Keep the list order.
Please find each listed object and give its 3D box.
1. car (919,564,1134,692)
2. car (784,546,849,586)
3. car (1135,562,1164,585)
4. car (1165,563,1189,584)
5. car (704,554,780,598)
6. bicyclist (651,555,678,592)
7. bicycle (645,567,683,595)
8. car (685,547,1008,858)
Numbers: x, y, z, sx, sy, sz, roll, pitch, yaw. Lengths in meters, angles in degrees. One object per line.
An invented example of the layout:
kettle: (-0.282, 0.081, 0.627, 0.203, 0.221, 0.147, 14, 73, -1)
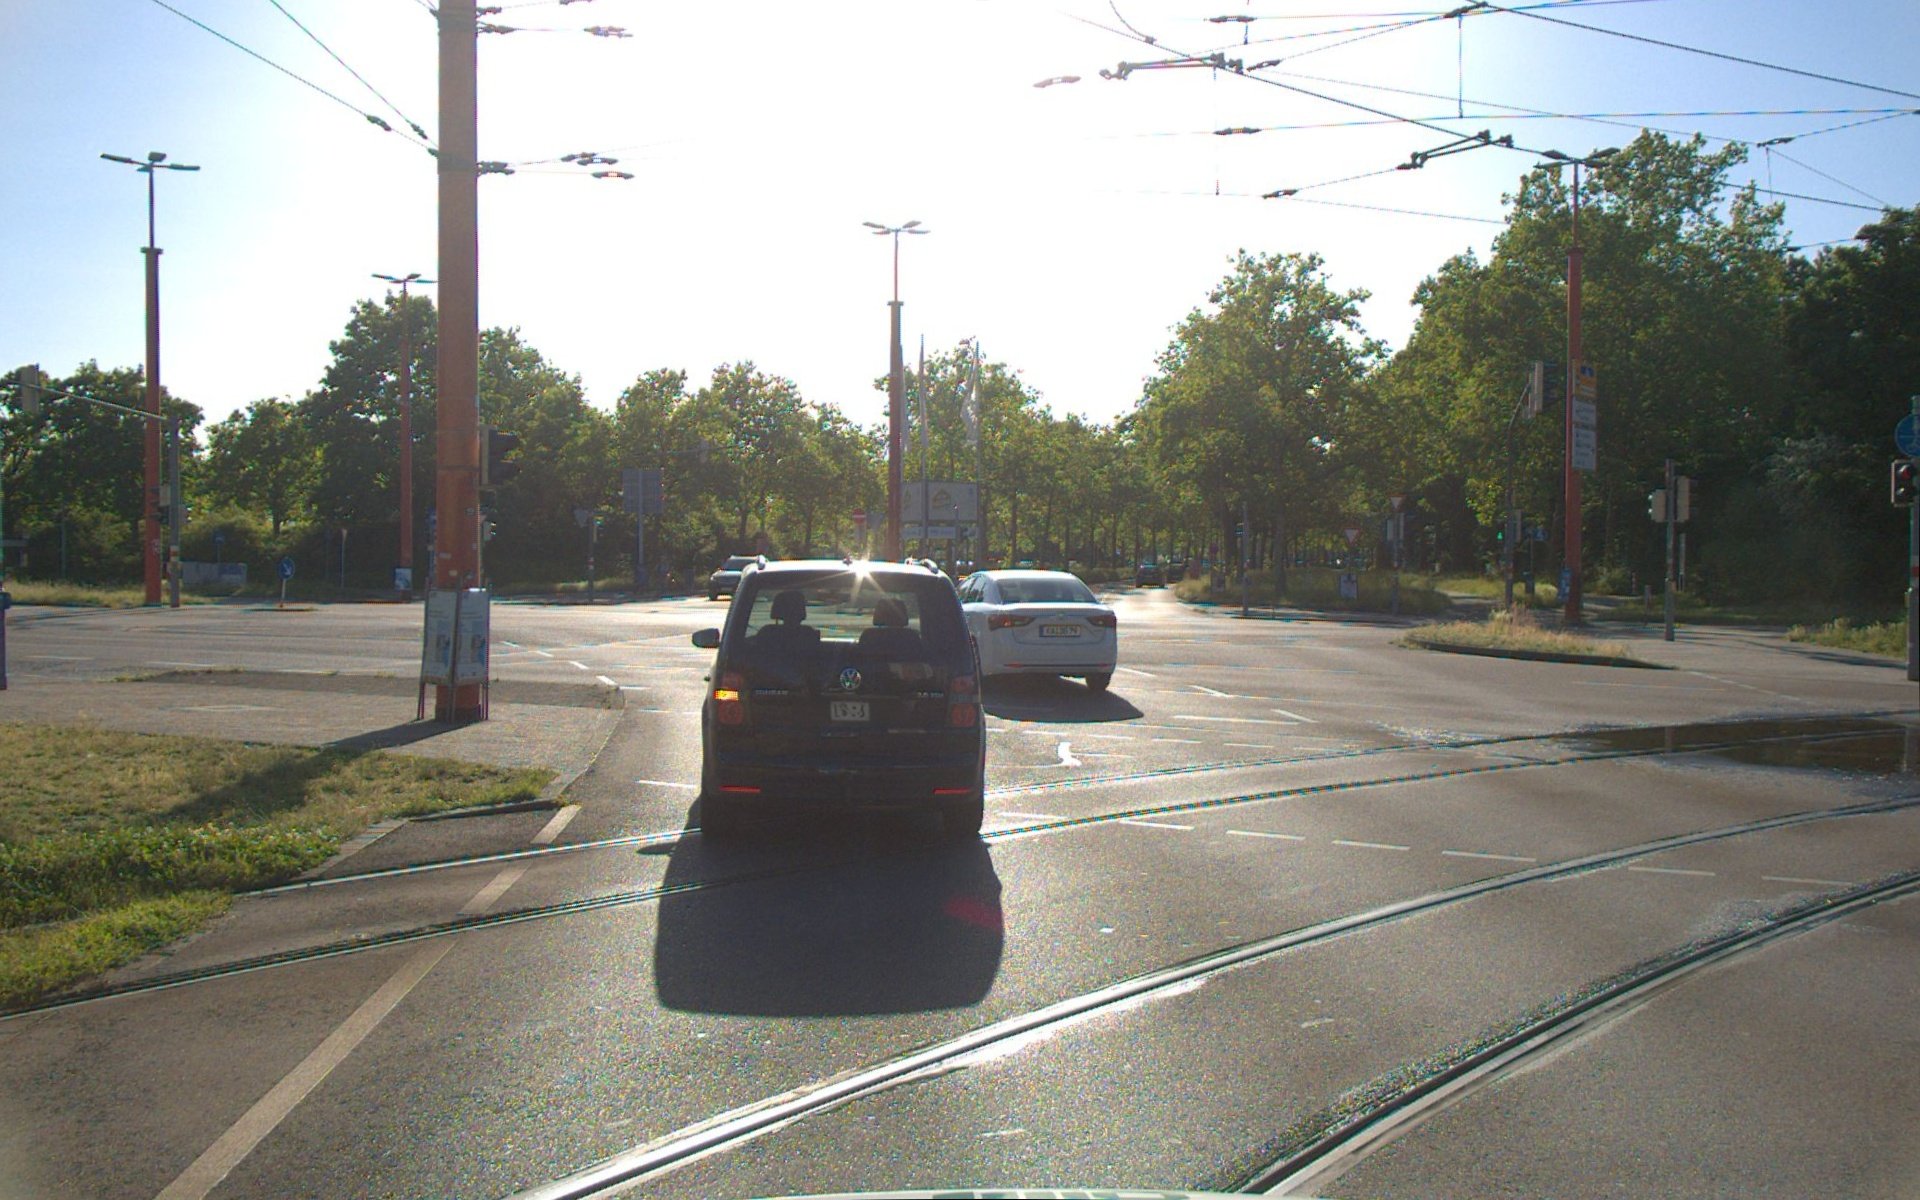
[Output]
car: (0.751, 0.286, 21.815, 1.737, 1.489, 4.352, 0, 1, -13)
car: (-5.830, -1.381, 67.645, 1.730, 1.565, 4.095, 1, 1, 9)
car: (12.538, -1.764, 109.364, 1.751, 1.412, 4.053, 1, 2, 8)
car: (18.301, -2.210, 139.518, 1.833, 1.655, 4.003, 2, 0, 6)
car: (-9.156, -1.034, 69.841, 1.861, 1.756, 4.658, 1, 1, 10)
bicyclist: (-12.583, -1.130, 70.481, 0.743, 1.584, 0.982, 0, 2, 16)
bicycle: (-12.601, -0.818, 70.410, 0.747, 1.110, 2.017, 0, 2, 16)
car: (-0.792, 0.497, 11.405, 1.733, 1.672, 4.919, 0, 1, -4)
